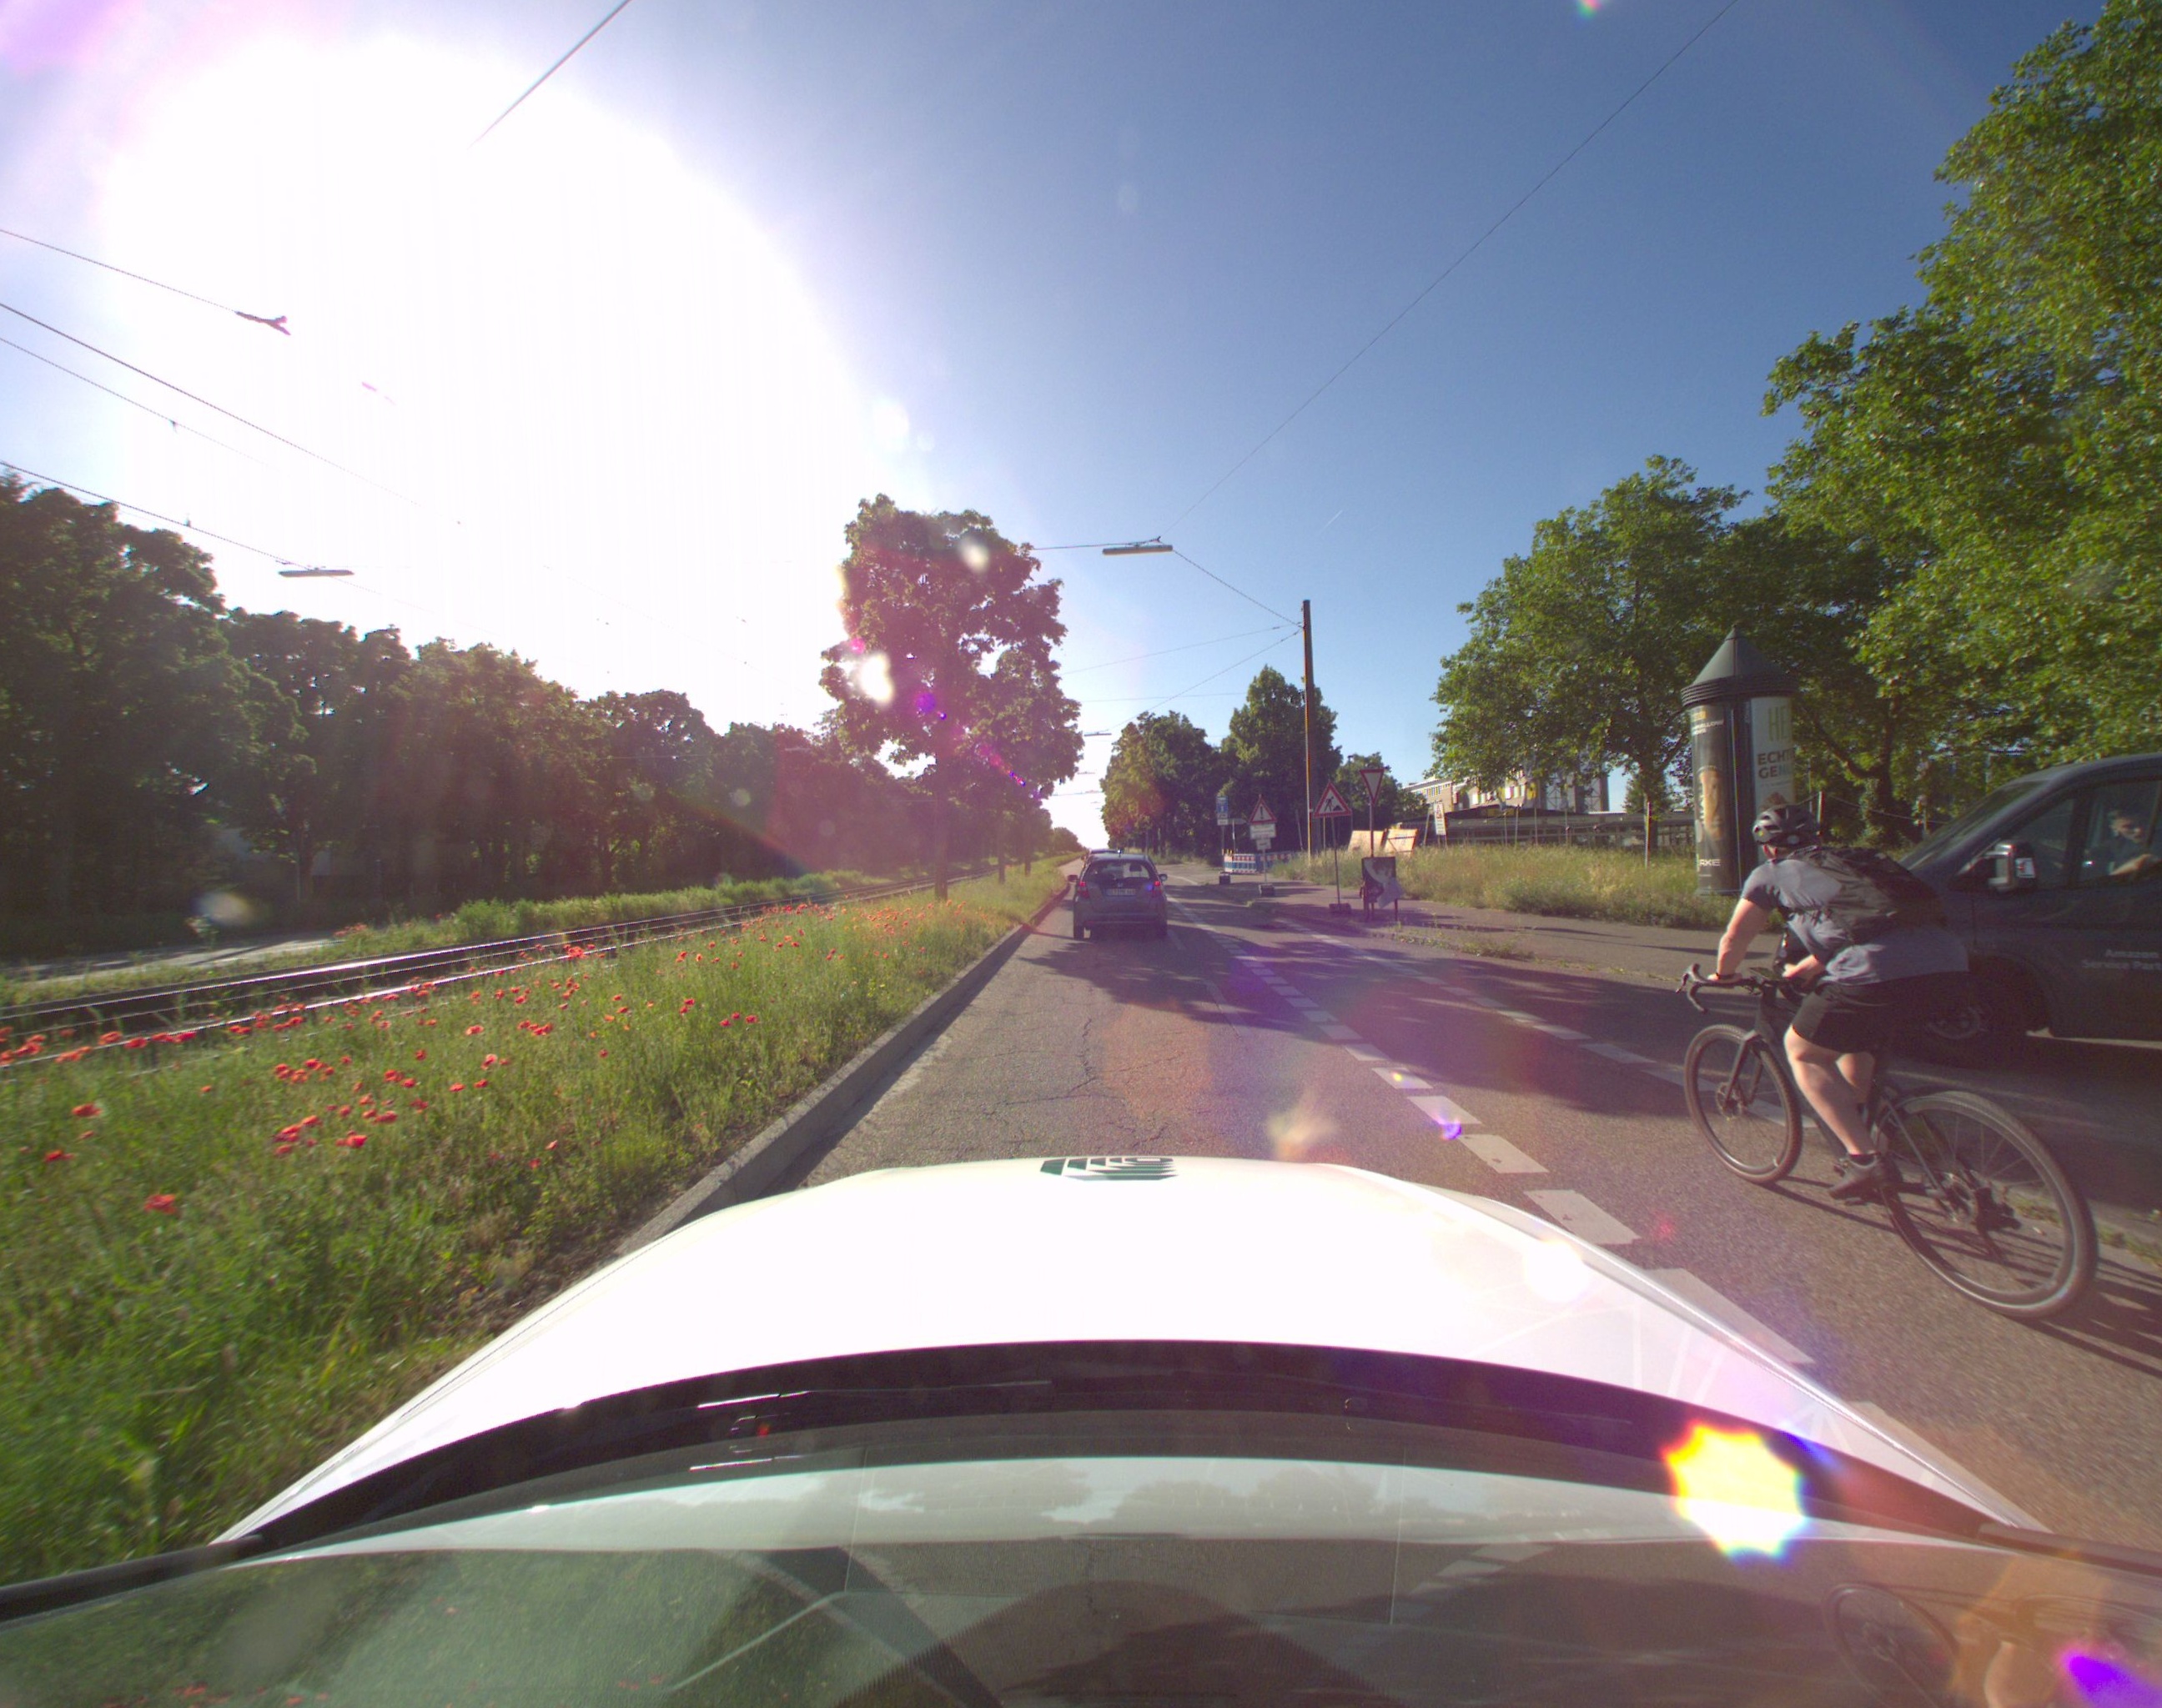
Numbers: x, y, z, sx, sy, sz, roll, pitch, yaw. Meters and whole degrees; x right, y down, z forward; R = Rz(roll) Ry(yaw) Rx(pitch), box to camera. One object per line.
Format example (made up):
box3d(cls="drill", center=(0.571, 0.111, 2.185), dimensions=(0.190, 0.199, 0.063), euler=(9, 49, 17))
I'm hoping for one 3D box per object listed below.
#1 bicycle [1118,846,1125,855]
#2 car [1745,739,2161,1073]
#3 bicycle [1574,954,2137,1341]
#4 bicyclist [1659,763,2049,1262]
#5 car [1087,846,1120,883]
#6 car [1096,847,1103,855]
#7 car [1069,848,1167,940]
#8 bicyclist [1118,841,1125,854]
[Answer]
box3d(cls="bicycle", center=(4.923, -0.424, 97.993), dimensions=(0.814, 1.048, 2.508), euler=(-1, -1, 3))
box3d(cls="car", center=(7.837, 0.296, 5.534), dimensions=(5.053, 2.070, 2.144), euler=(-2, -1, 38))
box3d(cls="bicycle", center=(2.963, 1.016, 3.503), dimensions=(0.521, 0.923, 2.091), euler=(-2, -1, 4))
box3d(cls="bicyclist", center=(2.966, 0.546, 3.248), dimensions=(0.612, 1.679, 0.934), euler=(-2, -1, 3))
box3d(cls="car", center=(1.036, 0.476, 36.192), dimensions=(1.346, 1.528, 3.125), euler=(-2, -1, 3))
box3d(cls="car", center=(5.586, -0.854, 245.643), dimensions=(1.985, 2.013, 4.003), euler=(-4, -1, 3))
box3d(cls="car", center=(0.656, 0.665, 15.653), dimensions=(1.665, 1.515, 3.674), euler=(0, 1, 1))
box3d(cls="bicyclist", center=(4.929, -0.782, 98.020), dimensions=(0.814, 1.524, 0.967), euler=(-1, -2, 3))
